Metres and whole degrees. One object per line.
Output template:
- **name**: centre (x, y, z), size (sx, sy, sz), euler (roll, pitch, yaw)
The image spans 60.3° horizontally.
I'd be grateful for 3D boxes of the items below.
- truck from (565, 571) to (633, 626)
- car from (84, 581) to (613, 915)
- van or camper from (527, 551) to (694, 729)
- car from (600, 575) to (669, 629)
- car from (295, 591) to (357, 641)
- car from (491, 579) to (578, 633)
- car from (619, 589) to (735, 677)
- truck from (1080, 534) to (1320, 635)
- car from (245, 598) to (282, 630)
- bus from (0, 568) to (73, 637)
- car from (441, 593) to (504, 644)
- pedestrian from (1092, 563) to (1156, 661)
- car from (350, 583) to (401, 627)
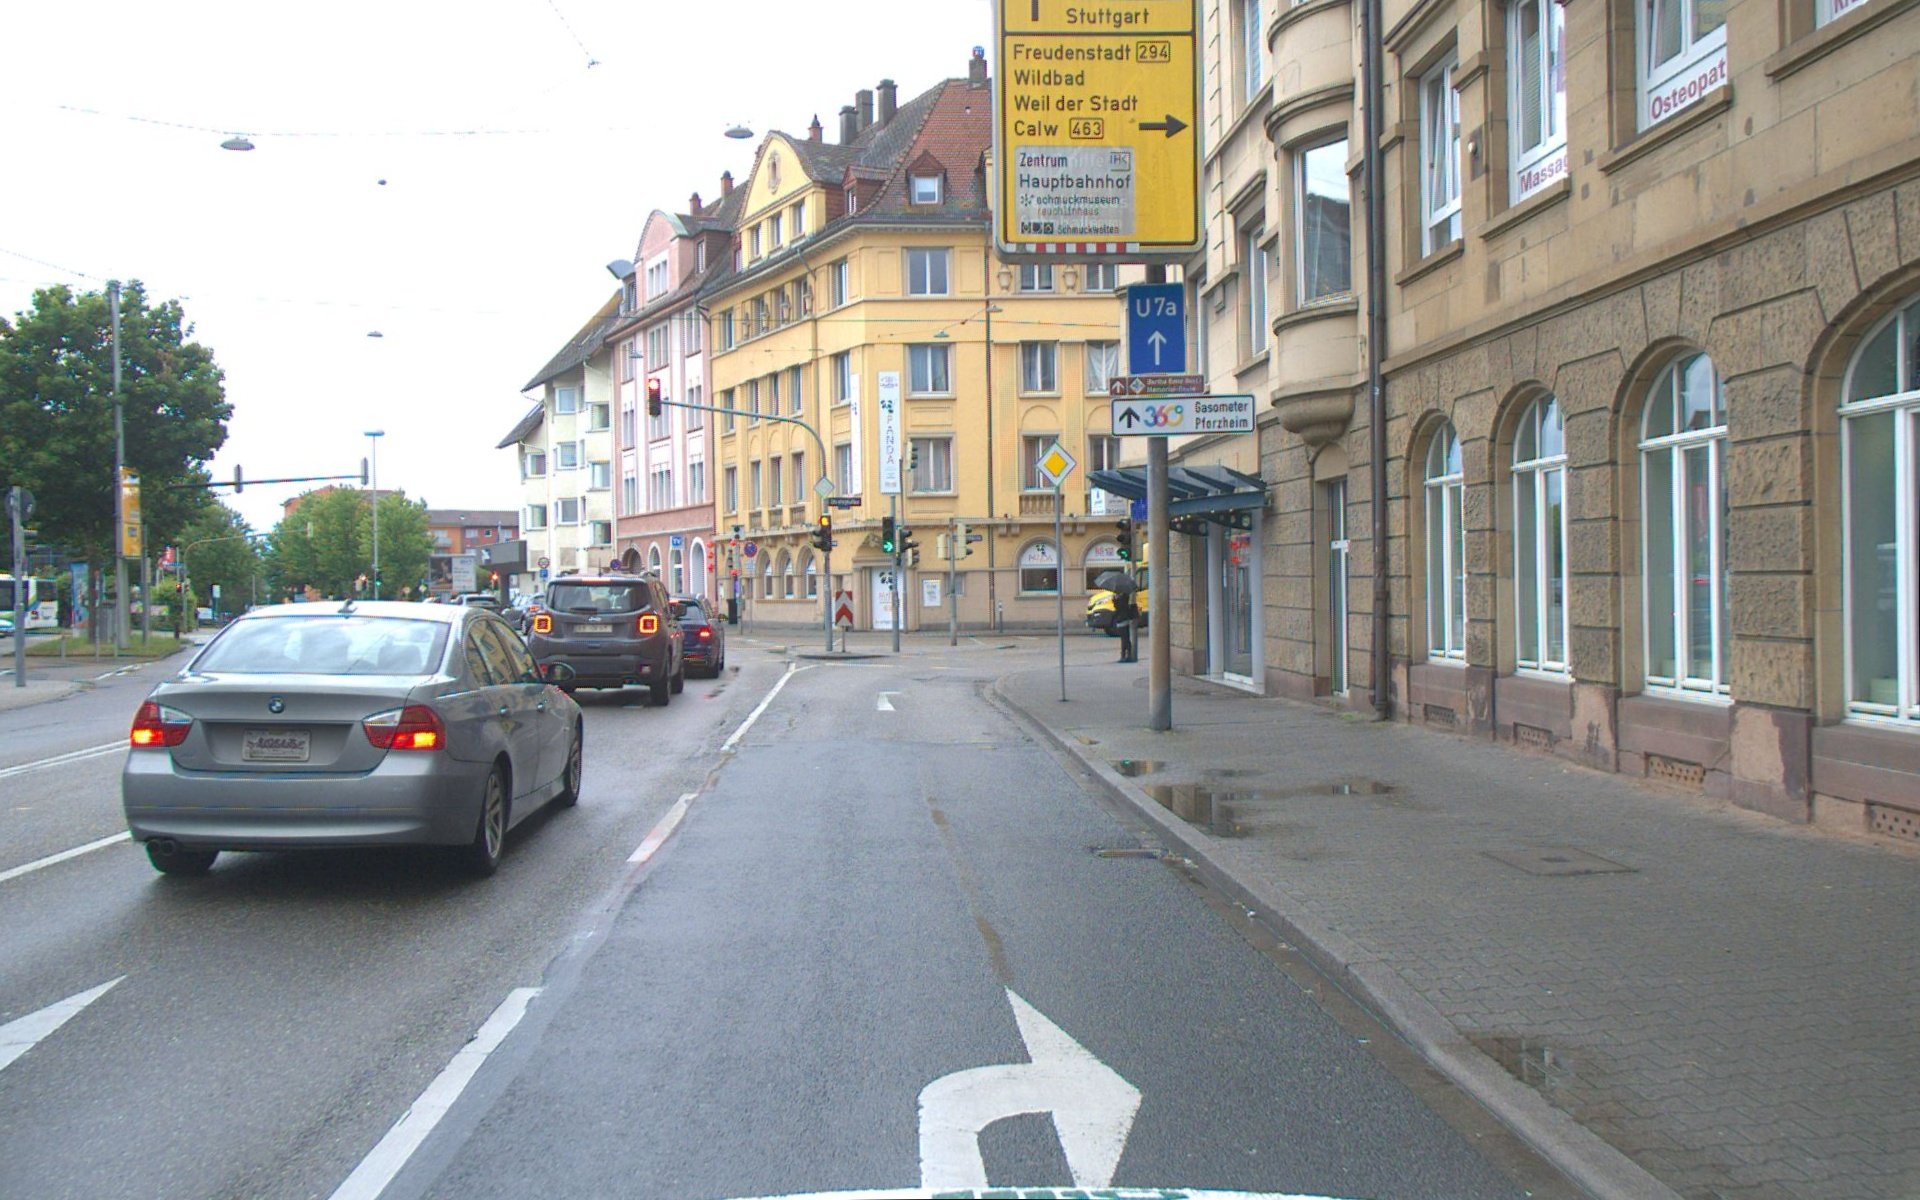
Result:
- **truck**: centre (-16.682, -0.104, 76.220), size (2.004, 2.431, 4.197), euler (0, 1, -29)
- **car**: centre (-3.263, 0.667, 9.796), size (1.764, 1.489, 4.367), euler (1, 1, -4)
- **van or camper**: centre (-4.657, 0.476, 22.576), size (1.819, 2.184, 4.136), euler (-1, 0, -7)
- **car**: centre (-13.998, 0.069, 71.028), size (1.742, 2.218, 3.962), euler (2, 0, -29)
- **car**: centre (-23.071, 0.564, 60.115), size (1.821, 1.713, 3.969), euler (1, 0, -25)
- **car**: centre (-15.361, 0.206, 59.585), size (1.974, 1.847, 3.958), euler (-1, 0, -31)
- **car**: centre (-4.949, 0.534, 29.401), size (1.768, 1.430, 4.677), euler (0, 0, -7)
- **truck**: centre (7.279, -0.468, 50.523), size (6.951, 2.901, 2.081), euler (-1, 0, -4)
- **car**: centre (-42.554, 0.825, 100.987), size (1.863, 1.847, 3.967), euler (-1, 1, -26)
- **bus**: centre (-49.323, -0.044, 81.926), size (8.934, 3.158, 2.916), euler (3, 1, -4)
- **car**: centre (-20.440, 0.732, 69.261), size (1.968, 2.049, 3.969), euler (-1, 1, -24)
- **pedestrian**: centre (3.311, 0.232, 33.379), size (1.035, 1.937, 1.025), euler (-1, 1, 21)
- **car**: centre (-28.932, 0.221, 81.795), size (1.968, 2.049, 3.969), euler (-1, 1, -25)
